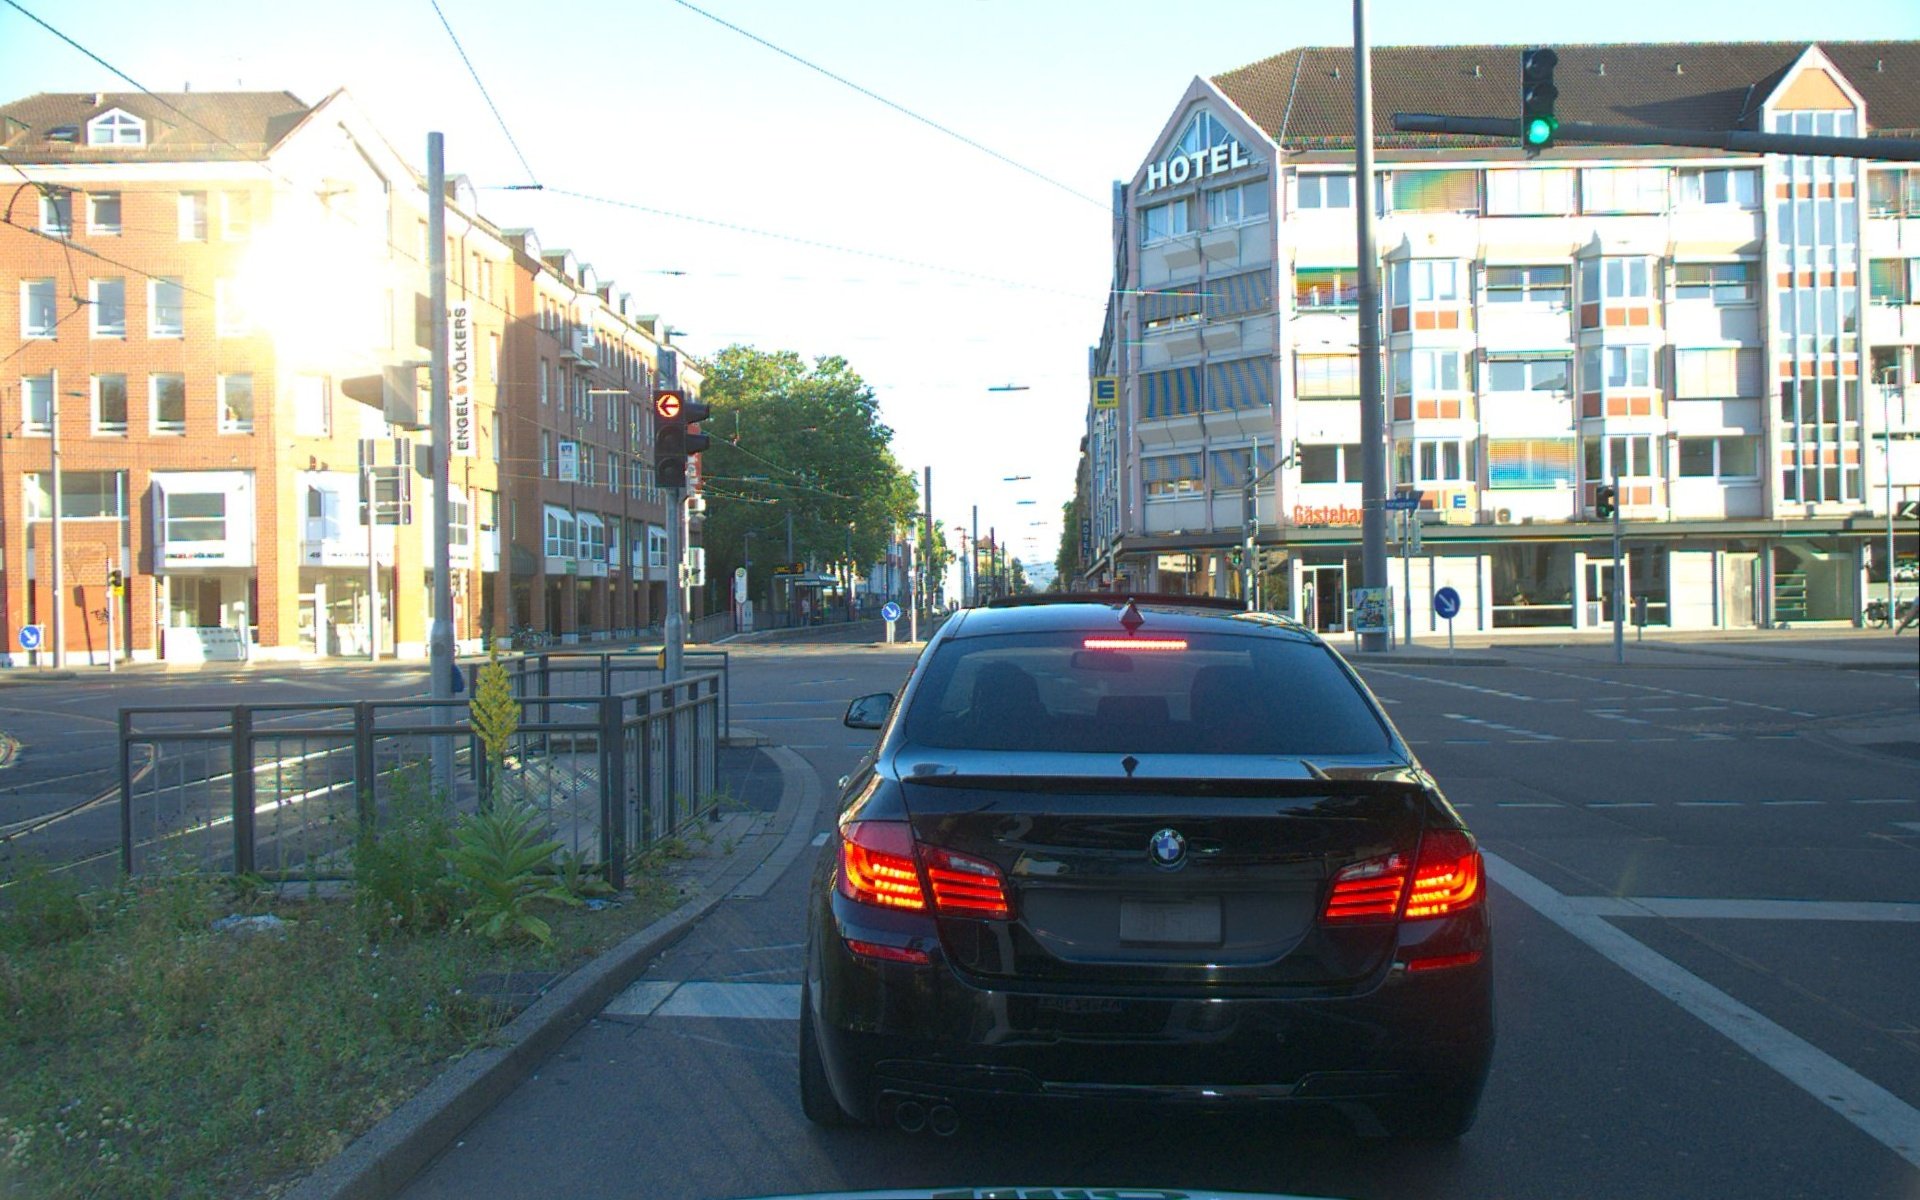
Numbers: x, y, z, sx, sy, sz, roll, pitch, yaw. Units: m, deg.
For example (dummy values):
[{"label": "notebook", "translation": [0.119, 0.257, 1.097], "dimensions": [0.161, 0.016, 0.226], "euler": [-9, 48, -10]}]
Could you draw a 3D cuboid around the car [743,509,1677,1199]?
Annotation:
[{"label": "car", "translation": [0.497, 0.621, 5.481], "dimensions": [1.953, 1.612, 3.999], "euler": [1, 0, -1]}]

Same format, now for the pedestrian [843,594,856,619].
[{"label": "pedestrian", "translation": [-7.783, 0.472, 116.696], "dimensions": [0.708, 1.710, 0.992], "euler": [-1, 0, 5]}]

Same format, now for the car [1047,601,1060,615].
[{"label": "car", "translation": [10.976, 0.910, 193.862], "dimensions": [1.442, 1.541, 3.097], "euler": [-1, 0, 2]}]

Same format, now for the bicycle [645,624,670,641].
[{"label": "bicycle", "translation": [-17.313, 1.850, 94.711], "dimensions": [1.387, 0.938, 0.402], "euler": [1, 0, -11]}]

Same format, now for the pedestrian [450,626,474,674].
[{"label": "pedestrian", "translation": [-19.804, 1.985, 65.754], "dimensions": [0.620, 1.900, 0.677], "euler": [1, 0, 29]}]

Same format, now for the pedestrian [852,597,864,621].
[{"label": "pedestrian", "translation": [-7.297, 0.646, 118.634], "dimensions": [0.708, 1.710, 0.992], "euler": [-1, 0, 5]}]

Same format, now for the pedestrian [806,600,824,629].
[{"label": "pedestrian", "translation": [-8.679, 0.890, 98.958], "dimensions": [0.967, 1.710, 0.726], "euler": [-1, 0, 2]}]

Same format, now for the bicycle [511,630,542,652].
[{"label": "bicycle", "translation": [-18.871, 1.776, 72.028], "dimensions": [1.259, 0.938, 0.349], "euler": [1, 0, -1]}]

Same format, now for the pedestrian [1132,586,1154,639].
[{"label": "pedestrian", "translation": [6.599, 0.461, 59.770], "dimensions": [0.670, 1.887, 0.671], "euler": [-1, 0, -1]}]

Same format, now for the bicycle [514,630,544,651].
[{"label": "bicycle", "translation": [-18.891, 1.776, 72.555], "dimensions": [1.263, 0.938, 0.348], "euler": [1, 0, -13]}]

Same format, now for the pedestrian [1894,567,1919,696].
[{"label": "pedestrian", "translation": [13.001, 0.407, 22.103], "dimensions": [0.670, 1.696, 0.671], "euler": [-1, 0, 6]}]

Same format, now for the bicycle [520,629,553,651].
[{"label": "bicycle", "translation": [-18.923, 1.794, 73.952], "dimensions": [1.388, 0.938, 0.442], "euler": [1, 0, -13]}]

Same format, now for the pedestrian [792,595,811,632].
[{"label": "pedestrian", "translation": [-8.955, 0.752, 93.705], "dimensions": [0.967, 2.049, 0.726], "euler": [0, 0, 2]}]

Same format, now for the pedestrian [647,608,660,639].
[{"label": "pedestrian", "translation": [-17.314, 1.337, 93.476], "dimensions": [0.476, 1.710, 0.655], "euler": [-1, 0, 7]}]

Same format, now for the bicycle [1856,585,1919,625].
[{"label": "bicycle", "translation": [31.905, 0.156, 56.301], "dimensions": [2.356, 1.287, 0.823], "euler": [-1, 0, -2]}]
